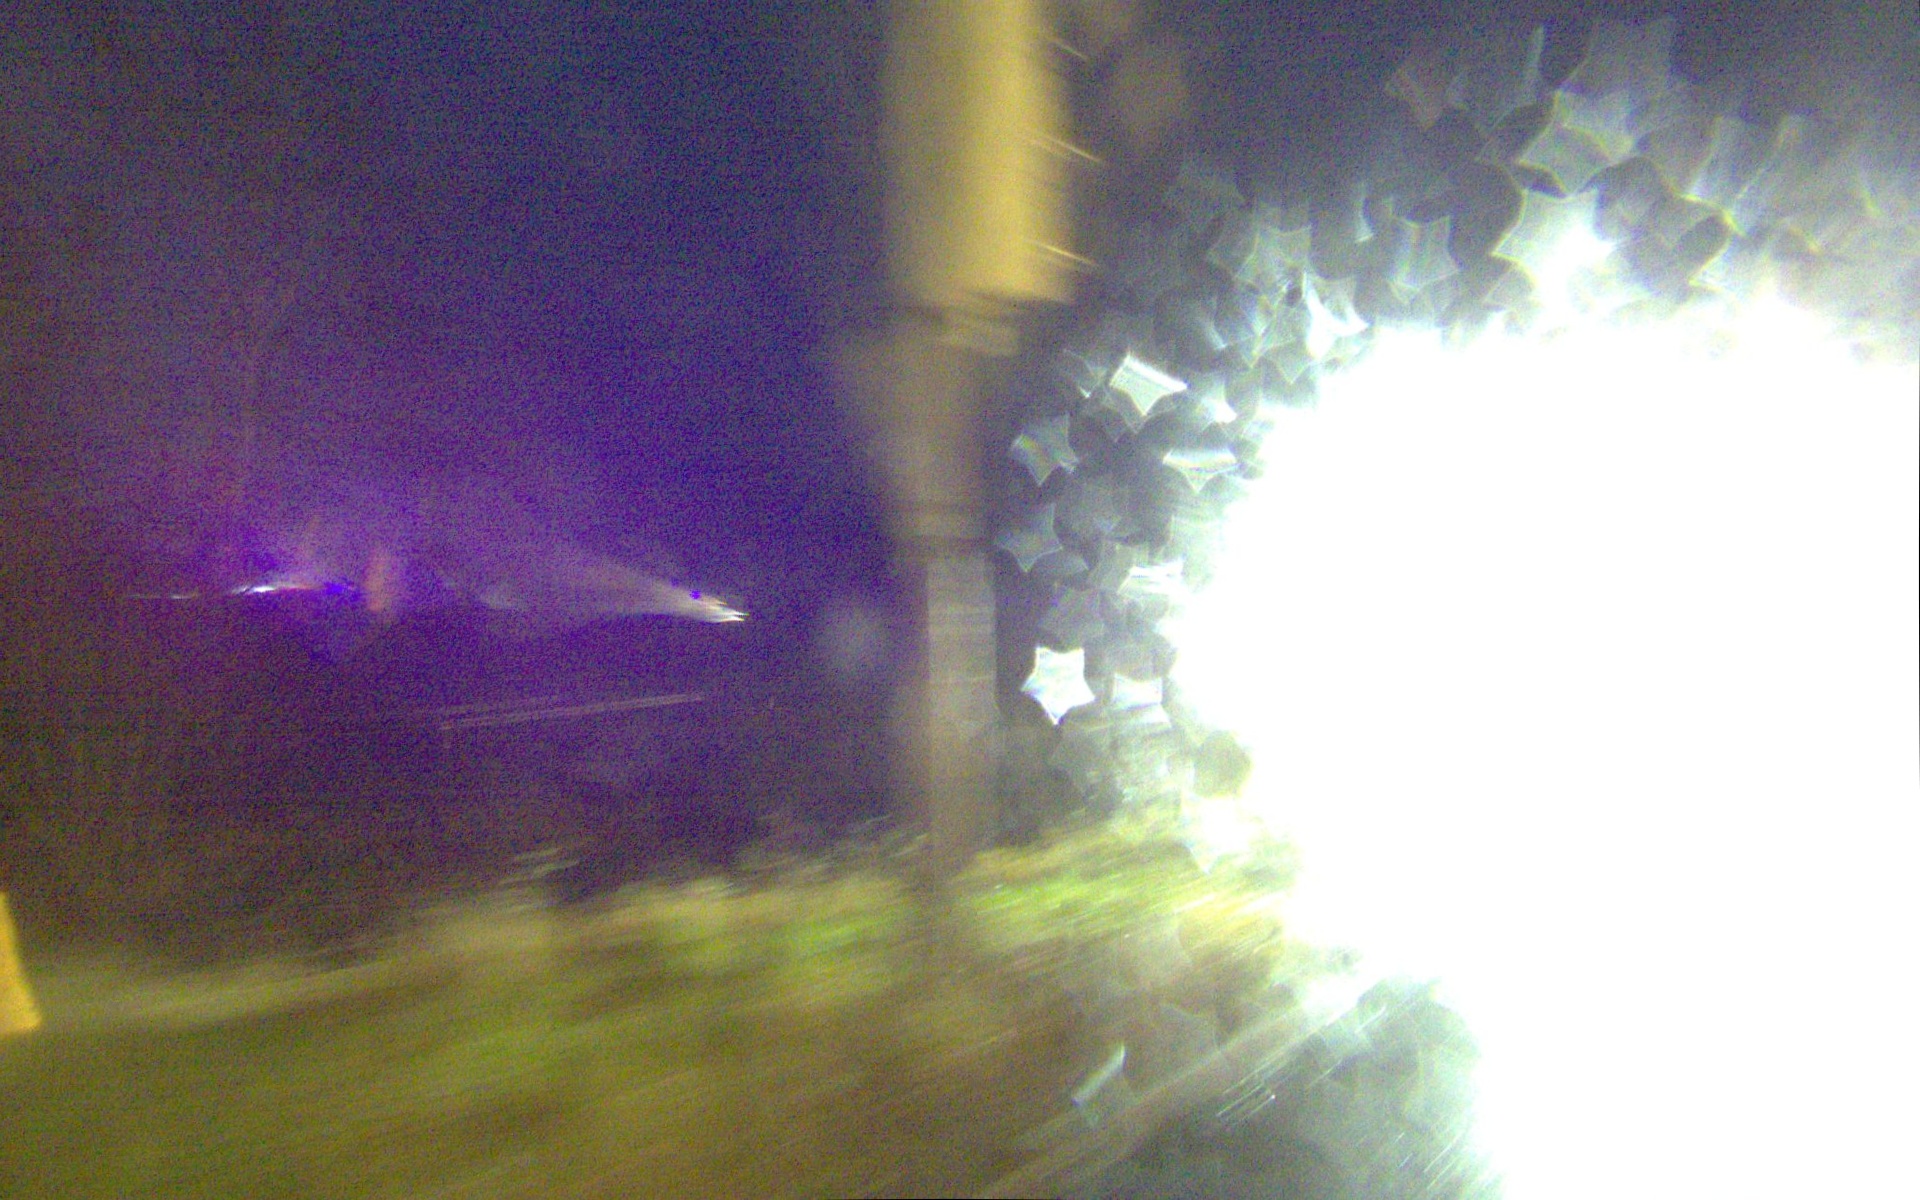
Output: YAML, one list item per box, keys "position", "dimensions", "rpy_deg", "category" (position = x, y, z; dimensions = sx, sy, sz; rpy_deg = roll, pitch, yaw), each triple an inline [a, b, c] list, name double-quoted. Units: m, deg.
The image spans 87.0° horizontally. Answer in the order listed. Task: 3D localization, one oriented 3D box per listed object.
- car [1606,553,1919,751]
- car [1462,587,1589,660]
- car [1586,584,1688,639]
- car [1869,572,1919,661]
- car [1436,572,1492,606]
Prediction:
- position: [9.469, 0.490, 12.392]
  dimensions: [1.983, 1.949, 4.333]
  rpy_deg: [-2, 0, 25]
  category: "car"
- position: [13.580, 0.569, 24.548]
  dimensions: [1.664, 1.552, 3.968]
  rpy_deg: [-3, -2, 15]
  category: "car"
- position: [22.682, 0.375, 34.091]
  dimensions: [1.825, 1.727, 4.103]
  rpy_deg: [0, 0, 19]
  category: "car"
- position: [18.954, 0.455, 18.289]
  dimensions: [1.761, 1.613, 4.226]
  rpy_deg: [3, 5, 12]
  category: "car"
- position: [23.039, -0.530, 46.405]
  dimensions: [1.659, 1.463, 4.151]
  rpy_deg: [-2, 1, 18]
  category: "car"
